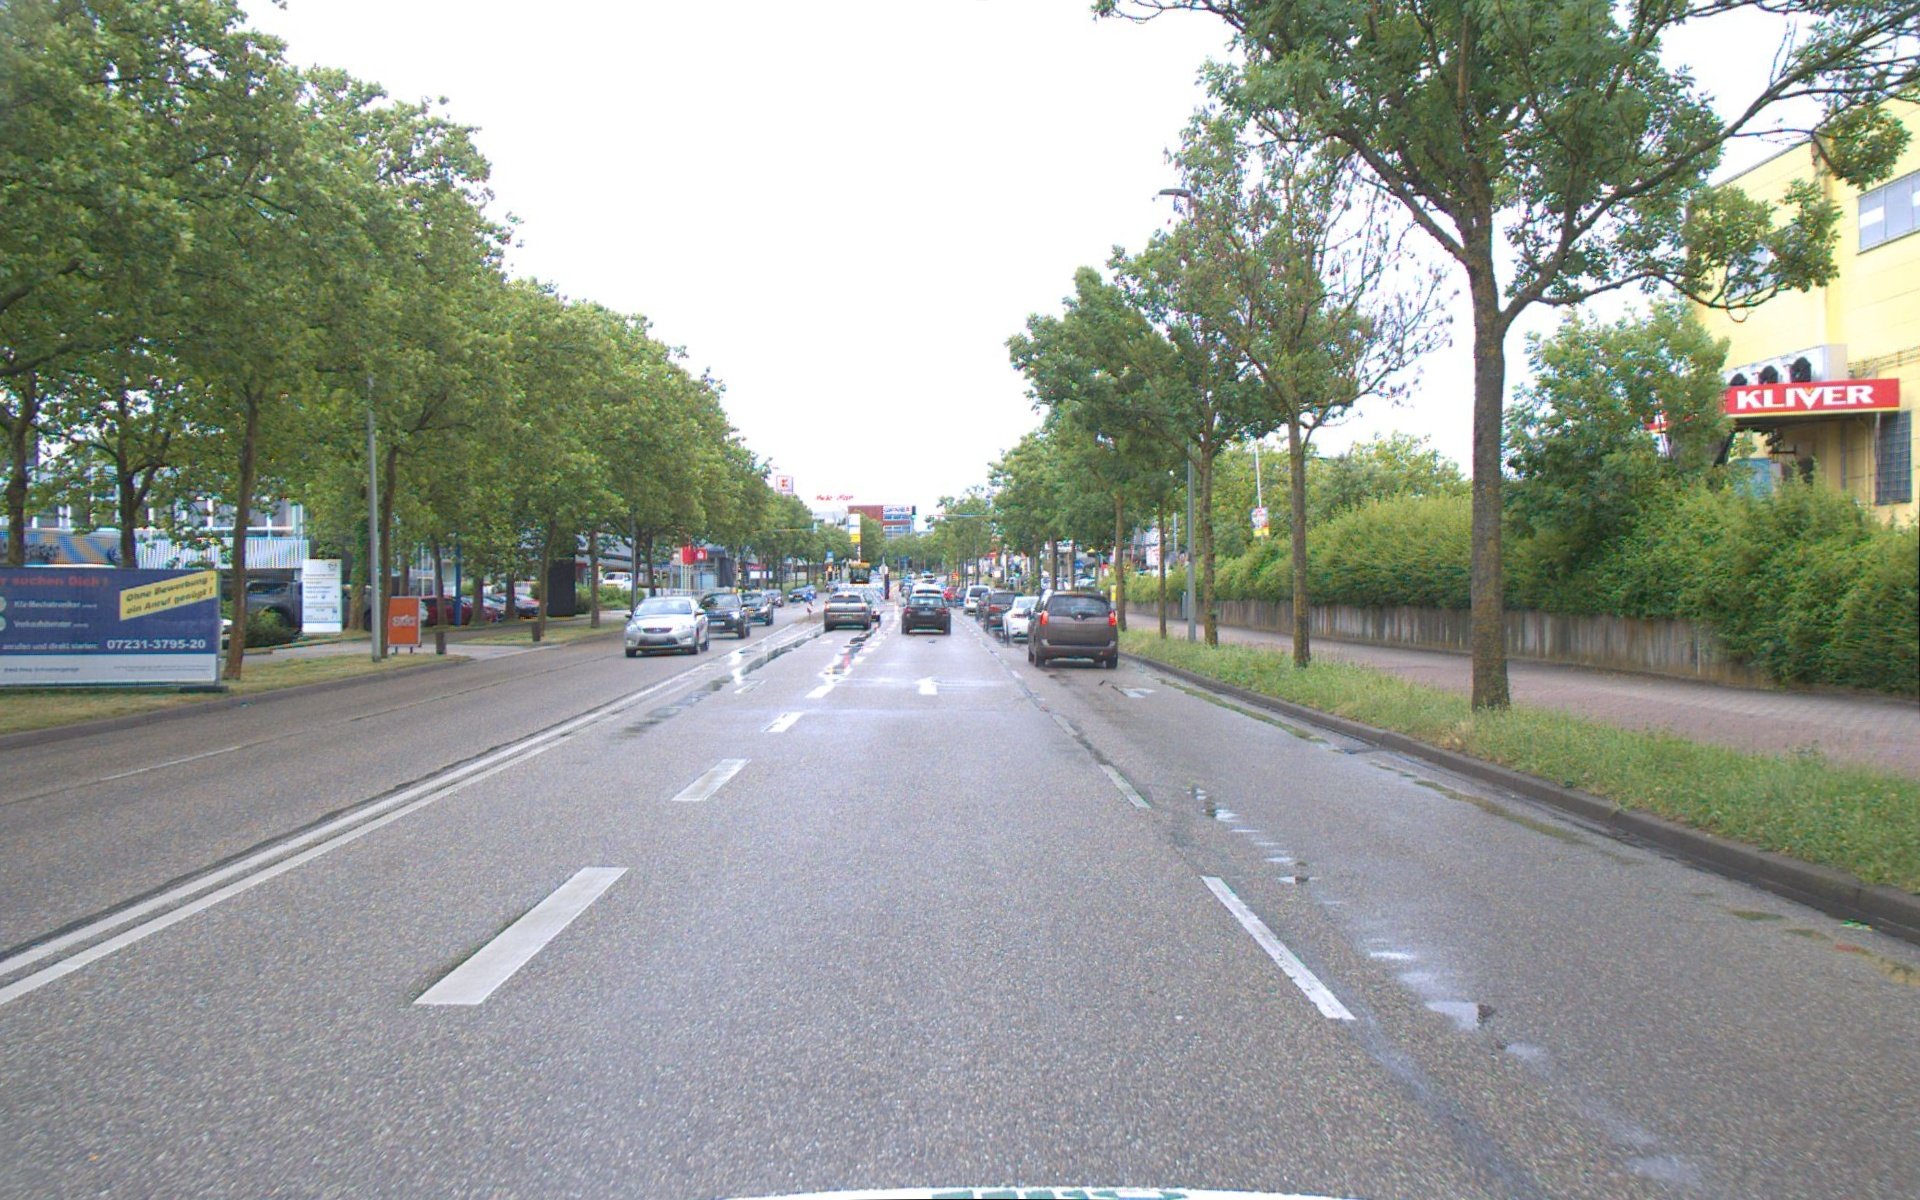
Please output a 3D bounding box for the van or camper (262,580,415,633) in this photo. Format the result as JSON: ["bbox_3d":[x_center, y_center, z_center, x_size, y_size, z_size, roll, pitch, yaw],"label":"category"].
[{"bbox_3d":[-23.563,0.243,62.720,5.289,1.801,2.088,-1,-3,-25],"label":"van or camper"}]

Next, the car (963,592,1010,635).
[{"bbox_3d":[1.061,0.535,67.918,1.764,1.614,4.450,1,1,-1],"label":"car"}]

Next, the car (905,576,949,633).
[{"bbox_3d":[-1.232,0.148,62.066,1.561,2.049,4.344,-1,0,-1],"label":"car"}]

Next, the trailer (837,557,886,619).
[{"bbox_3d":[-4.932,-0.601,83.545,2.325,2.947,5.542,-1,0,-3],"label":"trailer"}]

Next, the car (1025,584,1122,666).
[{"bbox_3d":[2.410,0.487,35.965,1.691,1.652,4.469,-1,0,-1],"label":"car"}]

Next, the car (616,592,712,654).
[{"bbox_3d":[-7.603,0.556,42.840,1.954,1.454,4.681,-2,0,-5],"label":"car"}]

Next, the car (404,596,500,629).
[{"bbox_3d":[-25.889,0.641,84.221,4.494,1.624,1.985,0,0,-24],"label":"car"}]

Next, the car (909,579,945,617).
[{"bbox_3d":[-1.880,-0.095,93.402,1.953,2.049,3.998,1,0,-2],"label":"car"}]

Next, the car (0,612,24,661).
[{"bbox_3d":[-31.512,1.156,51.675,3.811,1.493,1.601,-1,0,11],"label":"car"}]

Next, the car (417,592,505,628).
[{"bbox_3d":[-26.372,0.534,87.388,4.165,1.682,1.996,-2,0,-25],"label":"car"}]

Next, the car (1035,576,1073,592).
[{"bbox_3d":[9.222,-1.569,162.008,3.568,1.563,1.619,-2,1,-42],"label":"car"}]

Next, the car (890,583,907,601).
[{"bbox_3d":[-7.276,-0.941,196.385,1.953,2.049,3.999,1,0,-1],"label":"car"}]

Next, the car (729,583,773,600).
[{"bbox_3d":[-20.478,-0.841,162.118,3.916,1.579,1.895,-1,1,33],"label":"car"}]

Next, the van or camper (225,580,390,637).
[{"bbox_3d":[-22.963,0.270,58.252,5.221,1.853,2.246,-1,0,-28],"label":"van or camper"}]

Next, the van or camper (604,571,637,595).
[{"bbox_3d":[-28.784,-1.424,140.237,1.953,2.001,4.786,1,0,-2],"label":"van or camper"}]

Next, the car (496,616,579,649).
[{"bbox_3d":[-23.615,1.794,92.436,4.165,1.623,1.984,-2,1,-25],"label":"car"}]

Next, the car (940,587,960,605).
[{"bbox_3d":[-0.912,-0.339,142.511,1.661,1.468,3.988,-1,0,-1],"label":"car"}]

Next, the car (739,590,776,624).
[{"bbox_3d":[-9.387,0.310,76.949,1.634,1.487,4.175,-2,0,-6],"label":"car"}]

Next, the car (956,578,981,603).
[{"bbox_3d":[0.600,-0.680,119.060,1.650,1.713,3.402,1,0,-1],"label":"car"}]

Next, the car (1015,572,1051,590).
[{"bbox_3d":[8.467,-2.238,191.488,4.027,1.938,1.799,-1,1,0],"label":"car"}]

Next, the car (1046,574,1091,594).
[{"bbox_3d":[10.255,-1.520,156.293,3.993,1.691,1.953,-4,2,-42],"label":"car"}]

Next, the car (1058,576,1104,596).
[{"bbox_3d":[10.539,-1.217,144.340,1.896,1.604,4.266,-1,1,39],"label":"car"}]

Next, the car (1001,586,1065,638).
[{"bbox_3d":[2.334,0.370,53.848,1.764,1.571,4.619,1,0,-1],"label":"car"}]

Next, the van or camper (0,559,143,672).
[{"bbox_3d":[-22.259,0.305,39.939,1.953,2.513,6.400,1,0,-1],"label":"van or camper"}]

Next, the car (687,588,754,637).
[{"bbox_3d":[-8.200,0.409,56.919,1.727,1.558,3.857,-2,0,-1],"label":"car"}]

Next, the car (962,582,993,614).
[{"bbox_3d":[1.052,-0.116,102.190,1.746,1.899,3.999,-1,0,-1],"label":"car"}]

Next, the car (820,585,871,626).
[{"bbox_3d":[-4.710,0.216,68.480,1.868,1.606,4.879,-1,0,-1],"label":"car"}]

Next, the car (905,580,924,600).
[{"bbox_3d":[-4.805,-1.010,174.115,1.953,2.049,3.999,1,0,-1],"label":"car"}]

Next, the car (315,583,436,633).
[{"bbox_3d":[-23.241,0.298,65.770,4.396,1.847,1.985,-1,0,-25],"label":"car"}]

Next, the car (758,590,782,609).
[{"bbox_3d":[-15.459,-0.039,134.697,1.676,1.490,4.083,-2,0,-3],"label":"car"}]

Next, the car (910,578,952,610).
[{"bbox_3d":[-1.379,-0.285,76.763,1.649,1.401,3.996,-1,1,-5],"label":"car"}]
